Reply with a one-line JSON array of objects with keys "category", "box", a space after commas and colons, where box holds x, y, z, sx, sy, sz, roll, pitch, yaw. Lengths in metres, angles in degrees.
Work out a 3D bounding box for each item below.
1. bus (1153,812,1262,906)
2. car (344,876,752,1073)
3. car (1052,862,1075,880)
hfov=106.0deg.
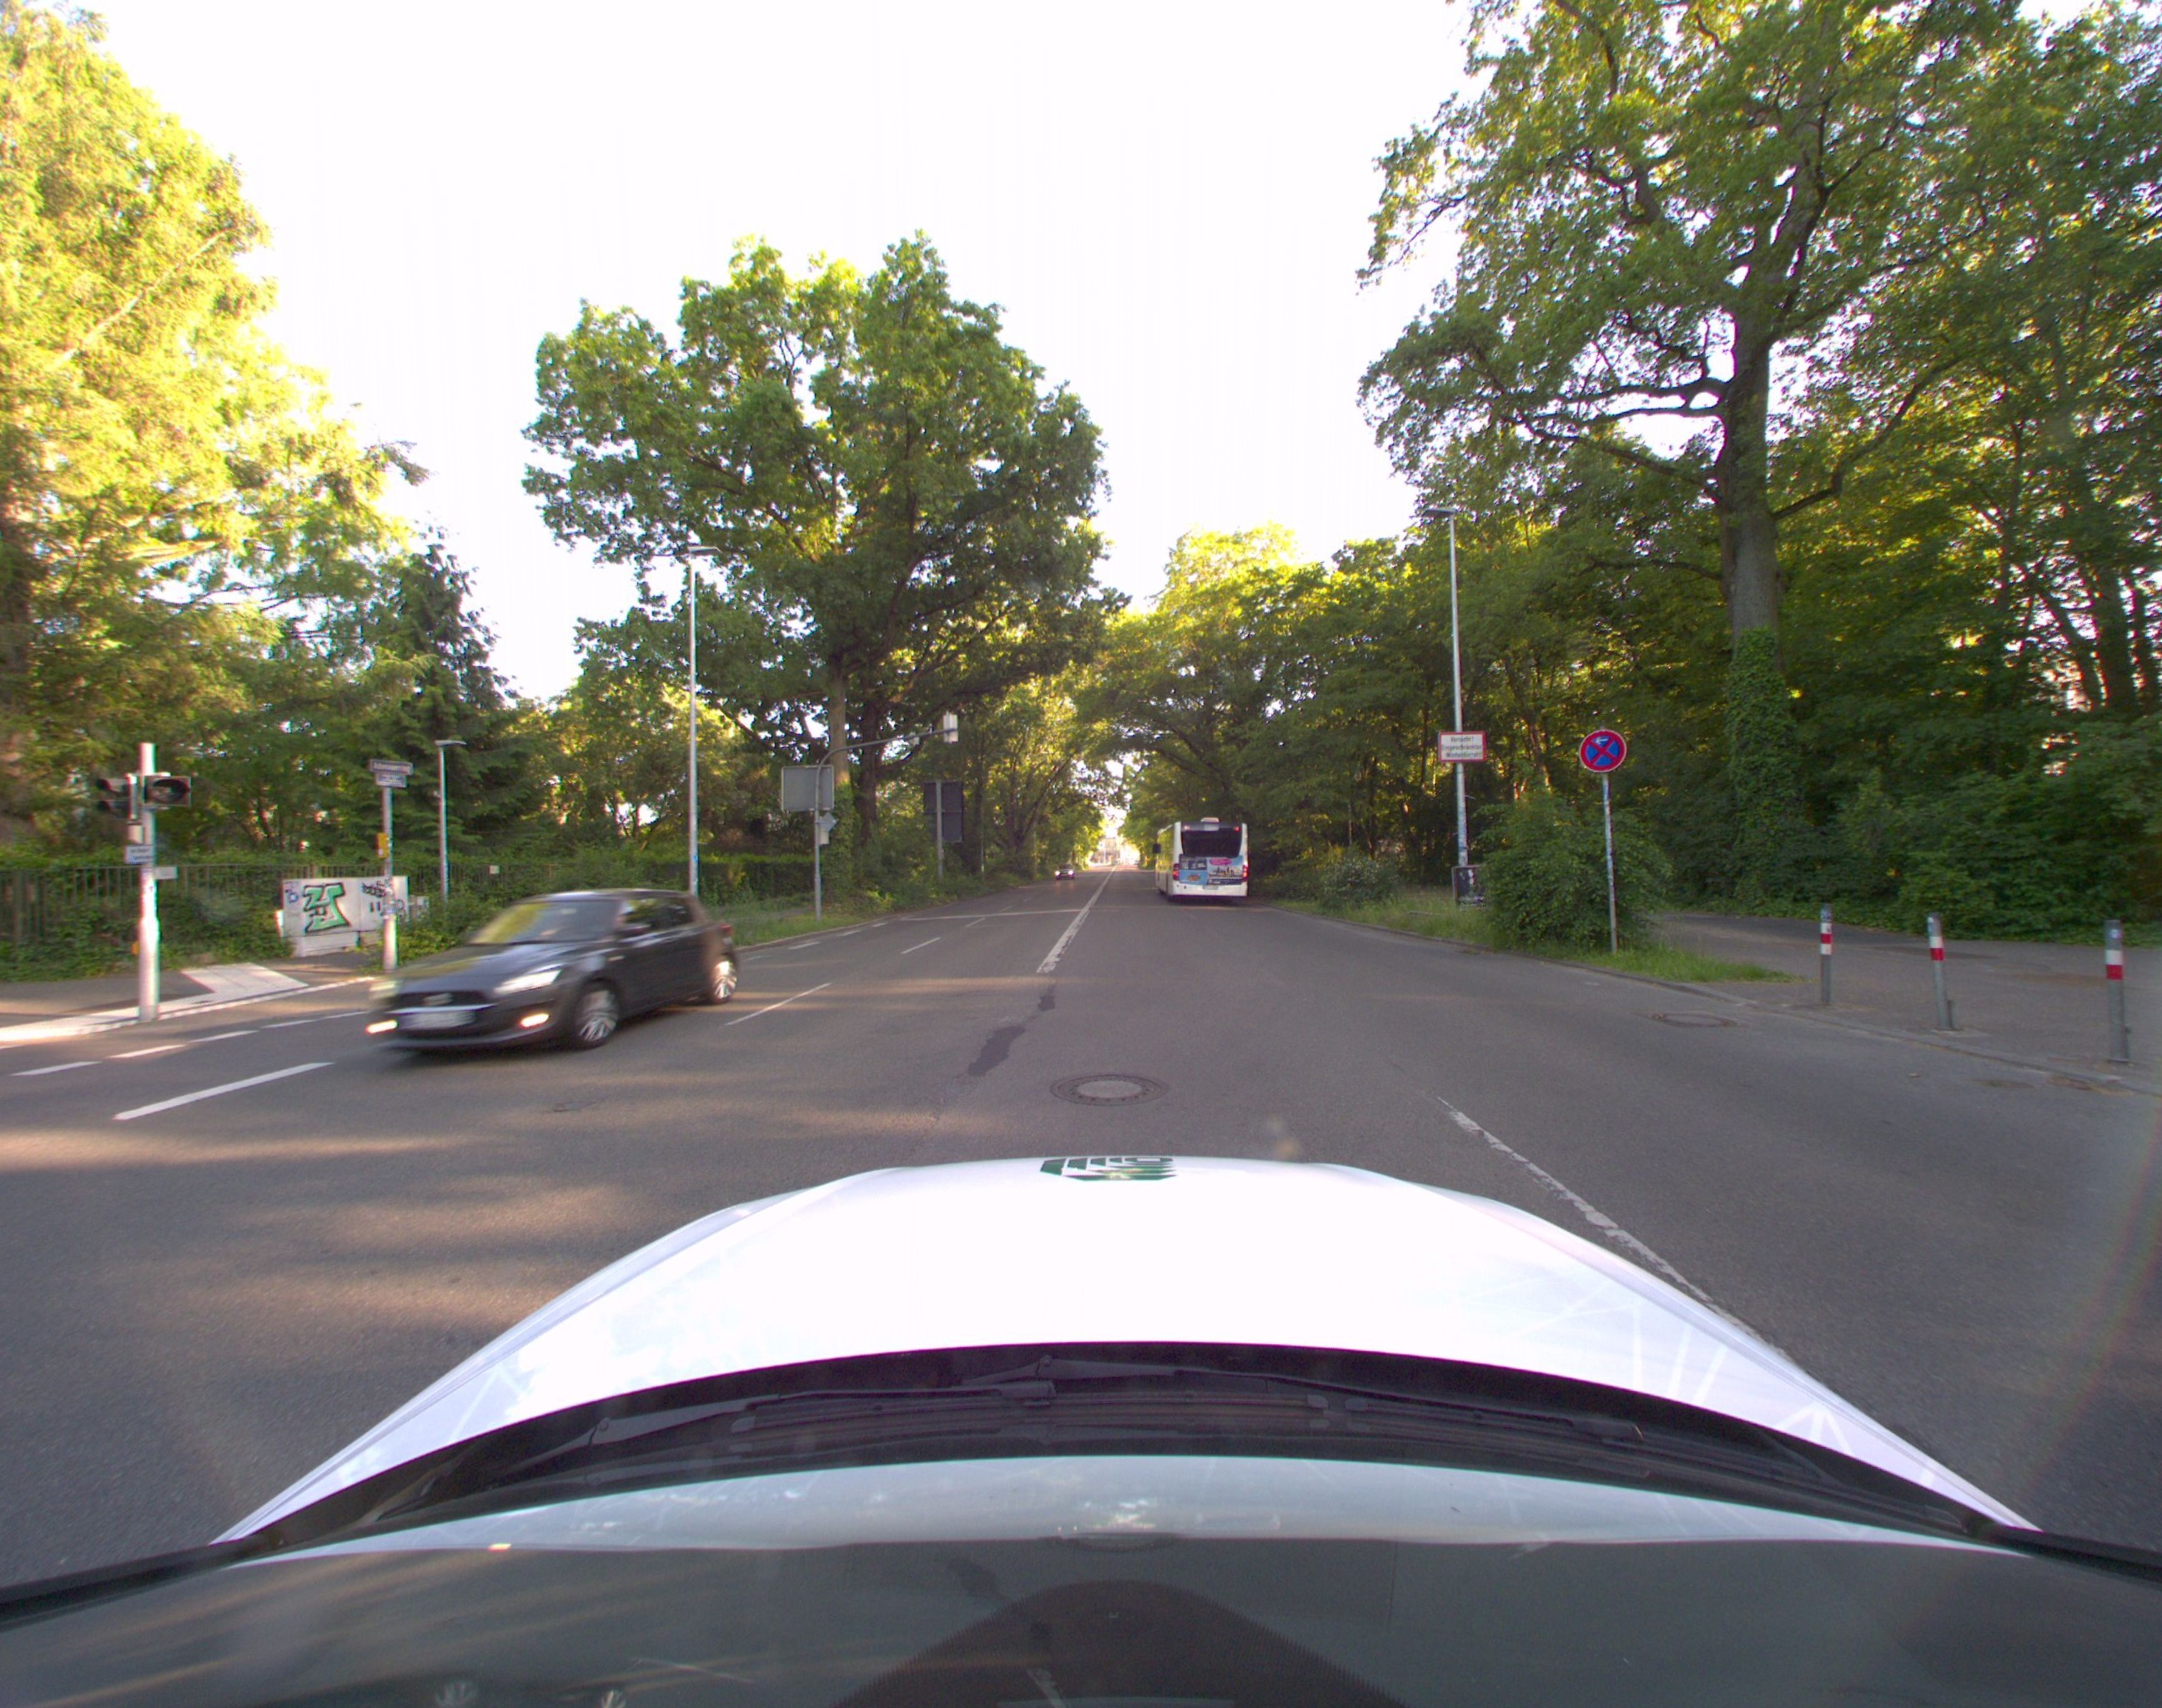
[{"category": "bus", "box": [4.753, 0.213, 33.229, 3.000, 3.087, 12.276, 1, 0, 2]}, {"category": "car", "box": [-5.171, 1.051, 8.584, 1.701, 1.453, 3.642, -4, -1, 2]}, {"category": "car", "box": [-1.581, 1.564, 76.893, 1.799, 1.580, 4.322, -4, -1, 2]}]
